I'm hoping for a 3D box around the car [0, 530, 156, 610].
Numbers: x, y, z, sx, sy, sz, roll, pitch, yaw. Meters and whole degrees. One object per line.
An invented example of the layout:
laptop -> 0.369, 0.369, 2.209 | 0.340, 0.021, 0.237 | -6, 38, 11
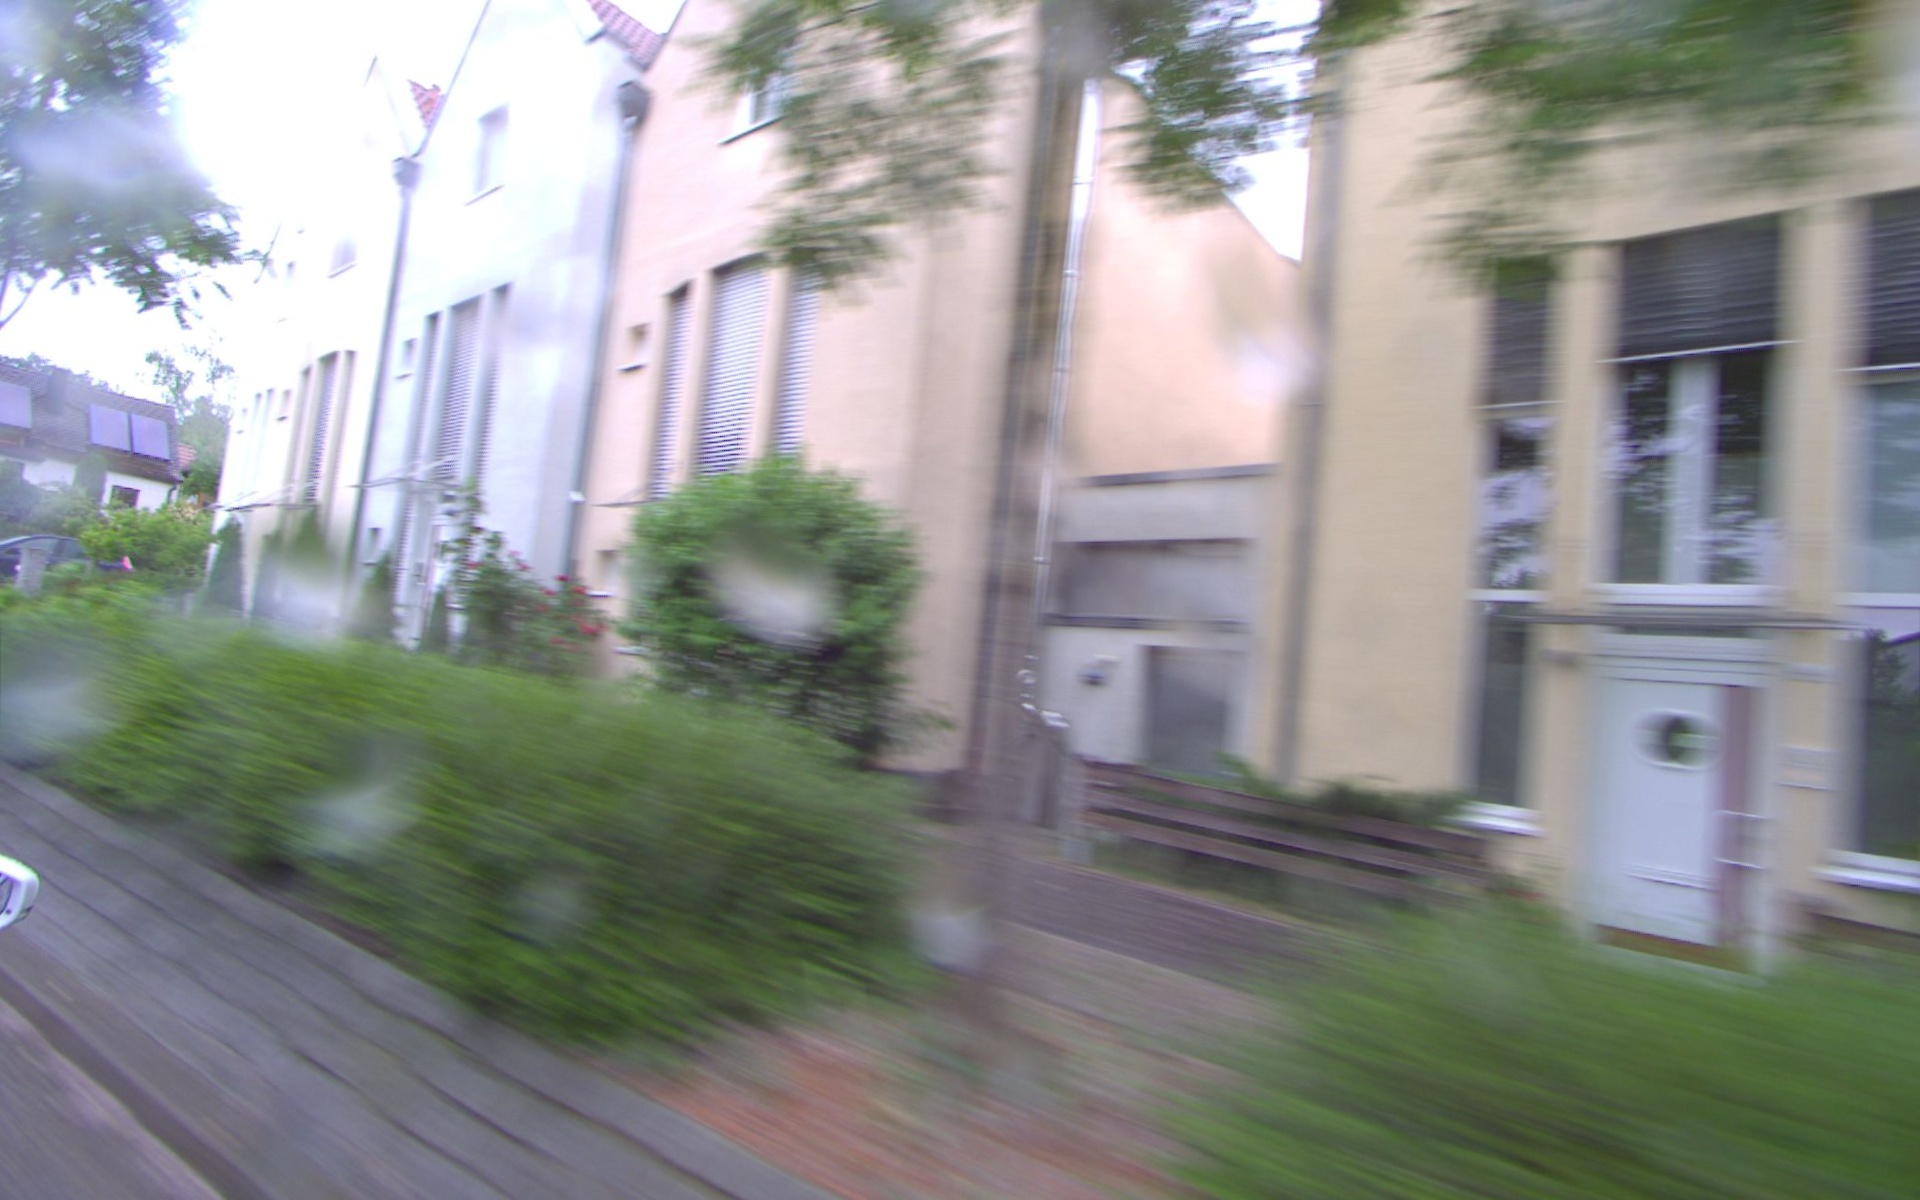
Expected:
car -> -25.042, -0.887, 27.717 | 1.840, 1.601, 4.131 | 3, -7, 43
